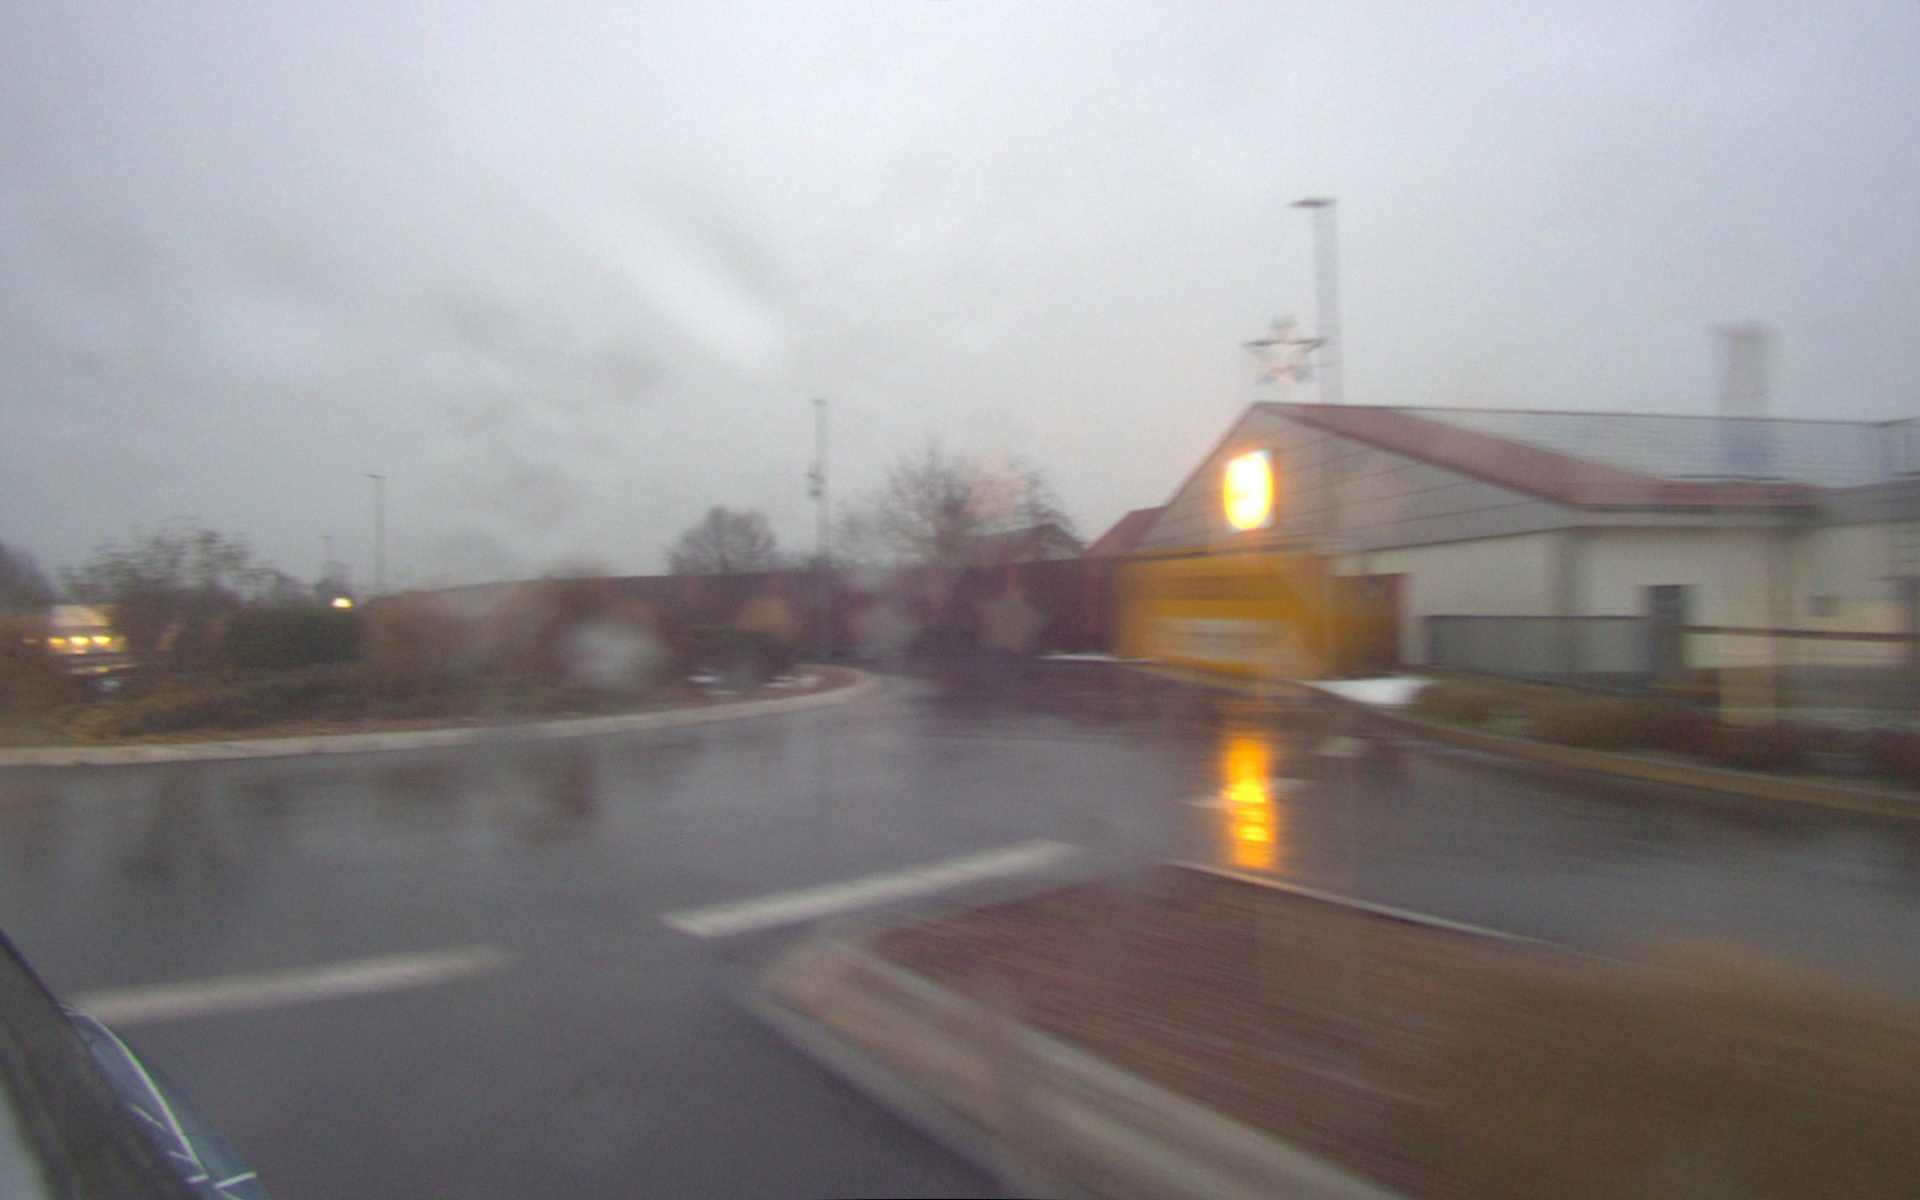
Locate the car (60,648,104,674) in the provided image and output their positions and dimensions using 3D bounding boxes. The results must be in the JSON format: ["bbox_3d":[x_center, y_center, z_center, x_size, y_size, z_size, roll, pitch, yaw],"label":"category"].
[{"bbox_3d":[-89.066,6.146,102.633,5.230,2.458,2.253,-2,-3,36],"label":"car"}]
